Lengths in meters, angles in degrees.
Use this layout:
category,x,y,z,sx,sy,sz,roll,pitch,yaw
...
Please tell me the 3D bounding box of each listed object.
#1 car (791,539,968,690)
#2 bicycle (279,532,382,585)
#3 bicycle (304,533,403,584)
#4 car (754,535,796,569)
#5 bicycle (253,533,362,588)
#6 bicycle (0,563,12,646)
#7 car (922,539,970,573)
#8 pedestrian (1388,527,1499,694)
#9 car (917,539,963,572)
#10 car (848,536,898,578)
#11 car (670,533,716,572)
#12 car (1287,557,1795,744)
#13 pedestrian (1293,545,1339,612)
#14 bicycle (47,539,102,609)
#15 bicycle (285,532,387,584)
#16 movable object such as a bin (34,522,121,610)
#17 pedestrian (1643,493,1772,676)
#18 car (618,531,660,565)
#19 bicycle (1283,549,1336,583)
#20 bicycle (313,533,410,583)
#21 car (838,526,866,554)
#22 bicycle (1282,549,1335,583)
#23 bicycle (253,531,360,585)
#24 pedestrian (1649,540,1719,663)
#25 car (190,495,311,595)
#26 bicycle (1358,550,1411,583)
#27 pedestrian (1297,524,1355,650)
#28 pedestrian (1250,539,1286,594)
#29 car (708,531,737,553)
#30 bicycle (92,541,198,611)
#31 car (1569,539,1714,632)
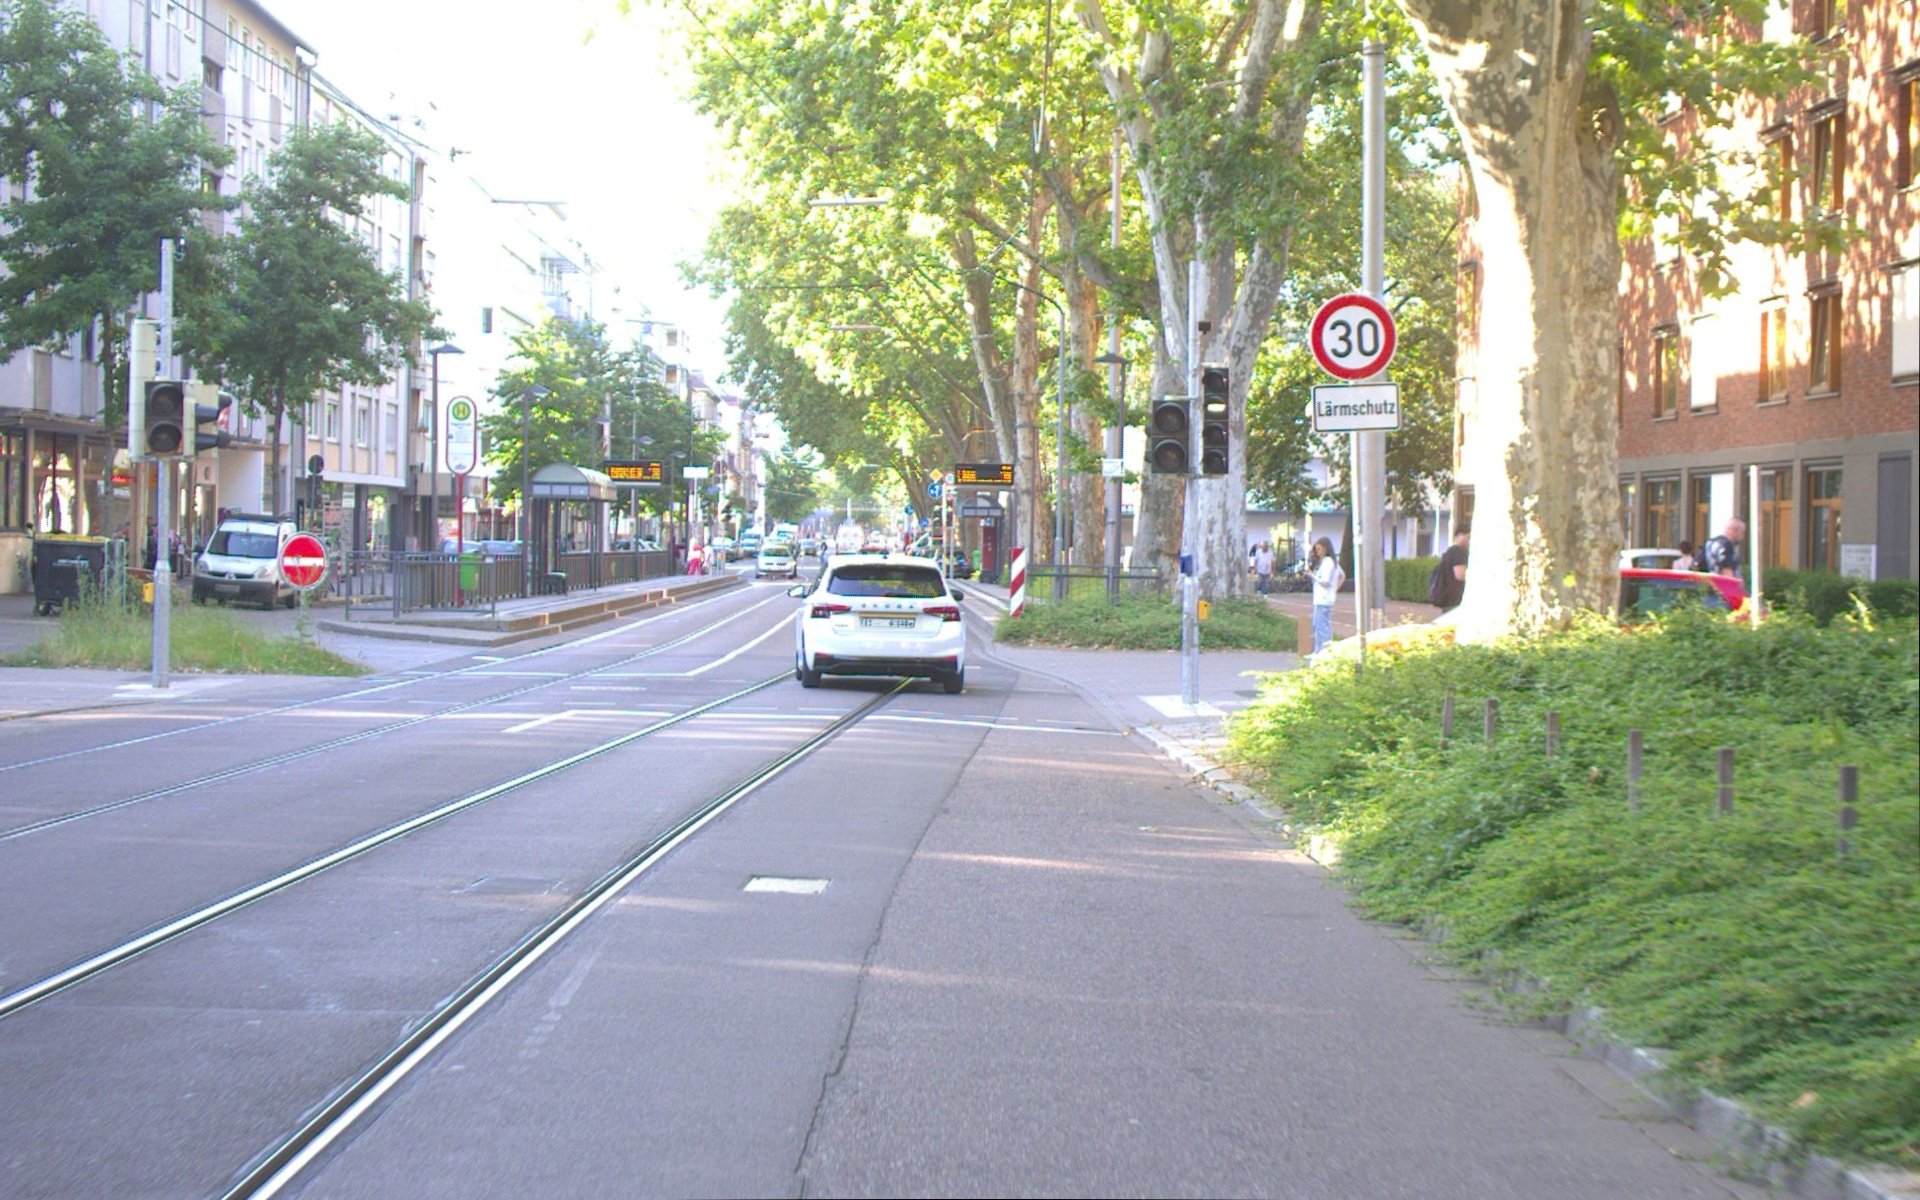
category,x,y,z,sx,sy,sz,roll,pitch,yaw
car,-0.873,0.115,37.098,1.788,1.508,4.000,1,1,-1
bicycle,-14.753,-0.970,80.597,2.253,1.070,0.636,4,1,0
bicycle,-14.844,-1.018,84.174,2.253,1.070,0.636,4,1,0
car,-8.086,-2.116,150.610,1.693,1.414,4.000,1,1,-1
bicycle,-14.600,-0.884,76.902,2.253,1.070,0.636,4,1,0
bicycle,-11.705,0.068,40.346,0.641,0.983,2.101,0,1,-2
car,-0.632,-1.937,150.674,1.993,1.448,4.000,1,1,-1
pedestrian,5.289,0.104,37.632,0.994,1.805,0.864,0,1,-6
car,-0.938,-2.029,155.756,1.993,1.448,4.000,1,1,-1
car,-3.239,-1.603,128.225,1.788,1.508,4.000,1,1,-1
car,-11.498,-2.053,148.054,1.678,1.543,4.000,3,1,-2
car,4.672,0.388,28.054,3.885,1.418,1.648,1,1,2
pedestrian,8.672,-0.532,83.765,0.972,1.618,0.888,1,1,-1
bicycle,-14.784,-0.446,57.434,0.498,1.104,1.800,4,1,-4
bicycle,-14.947,-1.003,82.341,2.253,1.070,0.636,4,1,0
movable object such as a bin,-14.373,-0.558,56.037,1.169,1.344,0.783,4,1,-5
pedestrian,7.843,-0.171,36.110,0.982,1.857,1.016,-3,1,-6
car,-15.671,-2.545,168.061,1.678,1.543,4.000,3,1,-2
bicycle,11.069,-1.068,108.785,1.567,1.034,0.504,1,1,20
bicycle,-14.961,-1.055,85.996,2.253,1.070,0.636,4,1,0
car,-7.412,-4.154,236.374,1.866,1.886,4.000,1,1,-1
bicycle,10.923,-1.056,107.868,1.567,1.034,0.479,1,1,20
bicycle,-14.924,-0.956,78.525,2.253,1.070,0.636,4,1,0
pedestrian,9.912,0.011,47.110,0.735,1.663,0.835,1,1,-2
car,-14.284,-1.112,69.346,1.688,1.933,4.000,1,1,-1
bicycle,13.333,-1.054,107.986,1.567,1.034,0.479,1,1,20
pedestrian,4.900,-0.182,46.000,0.652,1.663,0.738,1,1,-2
pedestrian,9.214,-1.012,102.862,0.972,1.618,0.888,1,1,-1
car,-16.819,-4.083,243.553,1.788,1.508,4.000,1,1,-1
bicycle,-13.777,-0.412,58.121,1.533,1.071,0.885,4,1,-2
car,11.441,-0.270,57.921,1.600,1.490,3.417,1,1,-3
